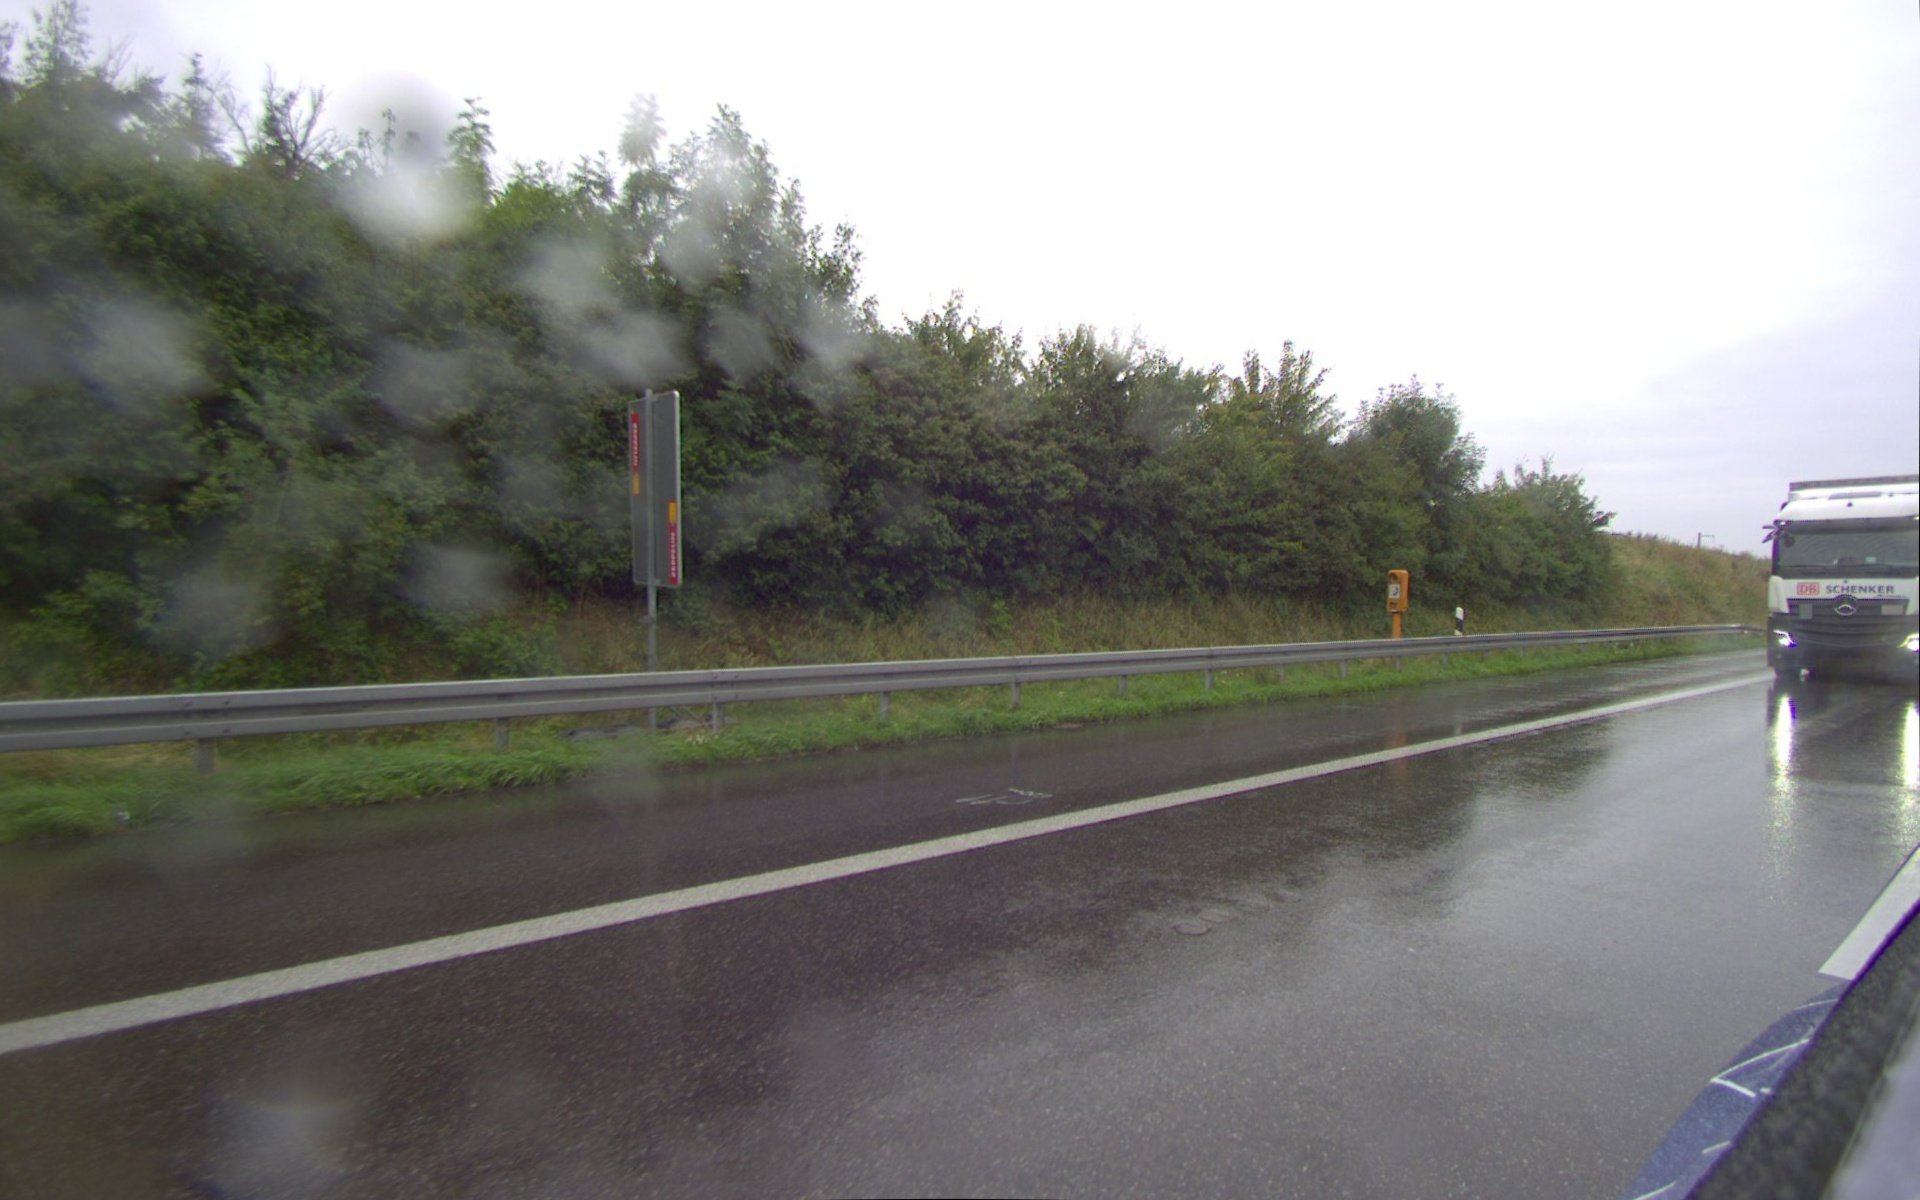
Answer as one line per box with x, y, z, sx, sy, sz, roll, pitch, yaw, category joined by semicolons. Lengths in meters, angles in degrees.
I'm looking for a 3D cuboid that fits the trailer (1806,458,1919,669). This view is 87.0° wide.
24.526;-0.796;25.540;13.927;4.302;2.631;0;0;-41;trailer

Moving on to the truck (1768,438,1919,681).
18.376;-0.742;20.227;4.955;4.307;2.630;0;0;-41;truck
